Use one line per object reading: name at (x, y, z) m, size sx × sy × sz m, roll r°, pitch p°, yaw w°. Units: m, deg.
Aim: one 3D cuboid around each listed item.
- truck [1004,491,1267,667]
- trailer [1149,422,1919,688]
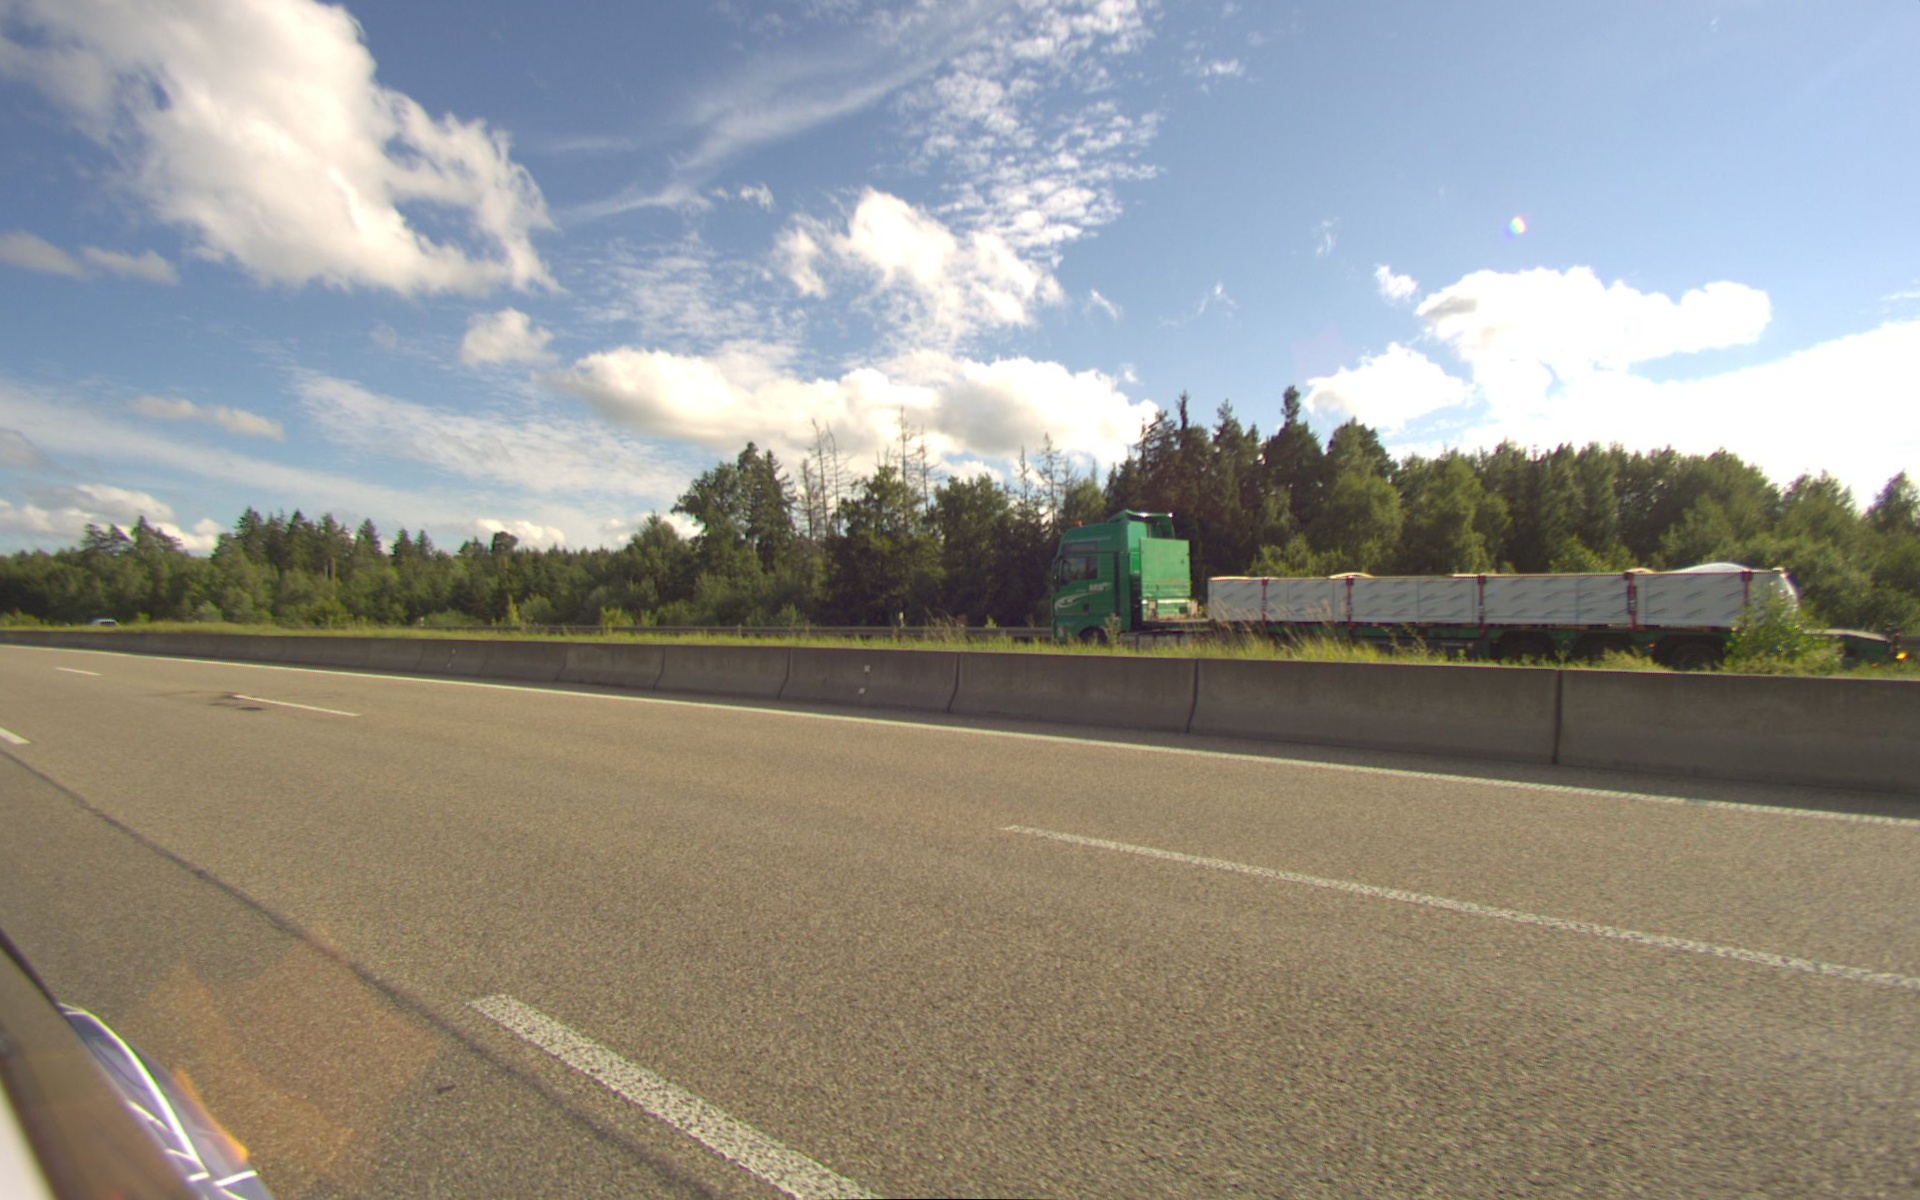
truck at (4.491, -0.442, 26.424) m, size 5.860 × 4.039 × 3.340 m, roll -1°, pitch -1°, yaw 41°
trailer at (10.747, -0.582, 20.907) m, size 13.633 × 4.039 × 3.340 m, roll -1°, pitch -1°, yaw 41°
